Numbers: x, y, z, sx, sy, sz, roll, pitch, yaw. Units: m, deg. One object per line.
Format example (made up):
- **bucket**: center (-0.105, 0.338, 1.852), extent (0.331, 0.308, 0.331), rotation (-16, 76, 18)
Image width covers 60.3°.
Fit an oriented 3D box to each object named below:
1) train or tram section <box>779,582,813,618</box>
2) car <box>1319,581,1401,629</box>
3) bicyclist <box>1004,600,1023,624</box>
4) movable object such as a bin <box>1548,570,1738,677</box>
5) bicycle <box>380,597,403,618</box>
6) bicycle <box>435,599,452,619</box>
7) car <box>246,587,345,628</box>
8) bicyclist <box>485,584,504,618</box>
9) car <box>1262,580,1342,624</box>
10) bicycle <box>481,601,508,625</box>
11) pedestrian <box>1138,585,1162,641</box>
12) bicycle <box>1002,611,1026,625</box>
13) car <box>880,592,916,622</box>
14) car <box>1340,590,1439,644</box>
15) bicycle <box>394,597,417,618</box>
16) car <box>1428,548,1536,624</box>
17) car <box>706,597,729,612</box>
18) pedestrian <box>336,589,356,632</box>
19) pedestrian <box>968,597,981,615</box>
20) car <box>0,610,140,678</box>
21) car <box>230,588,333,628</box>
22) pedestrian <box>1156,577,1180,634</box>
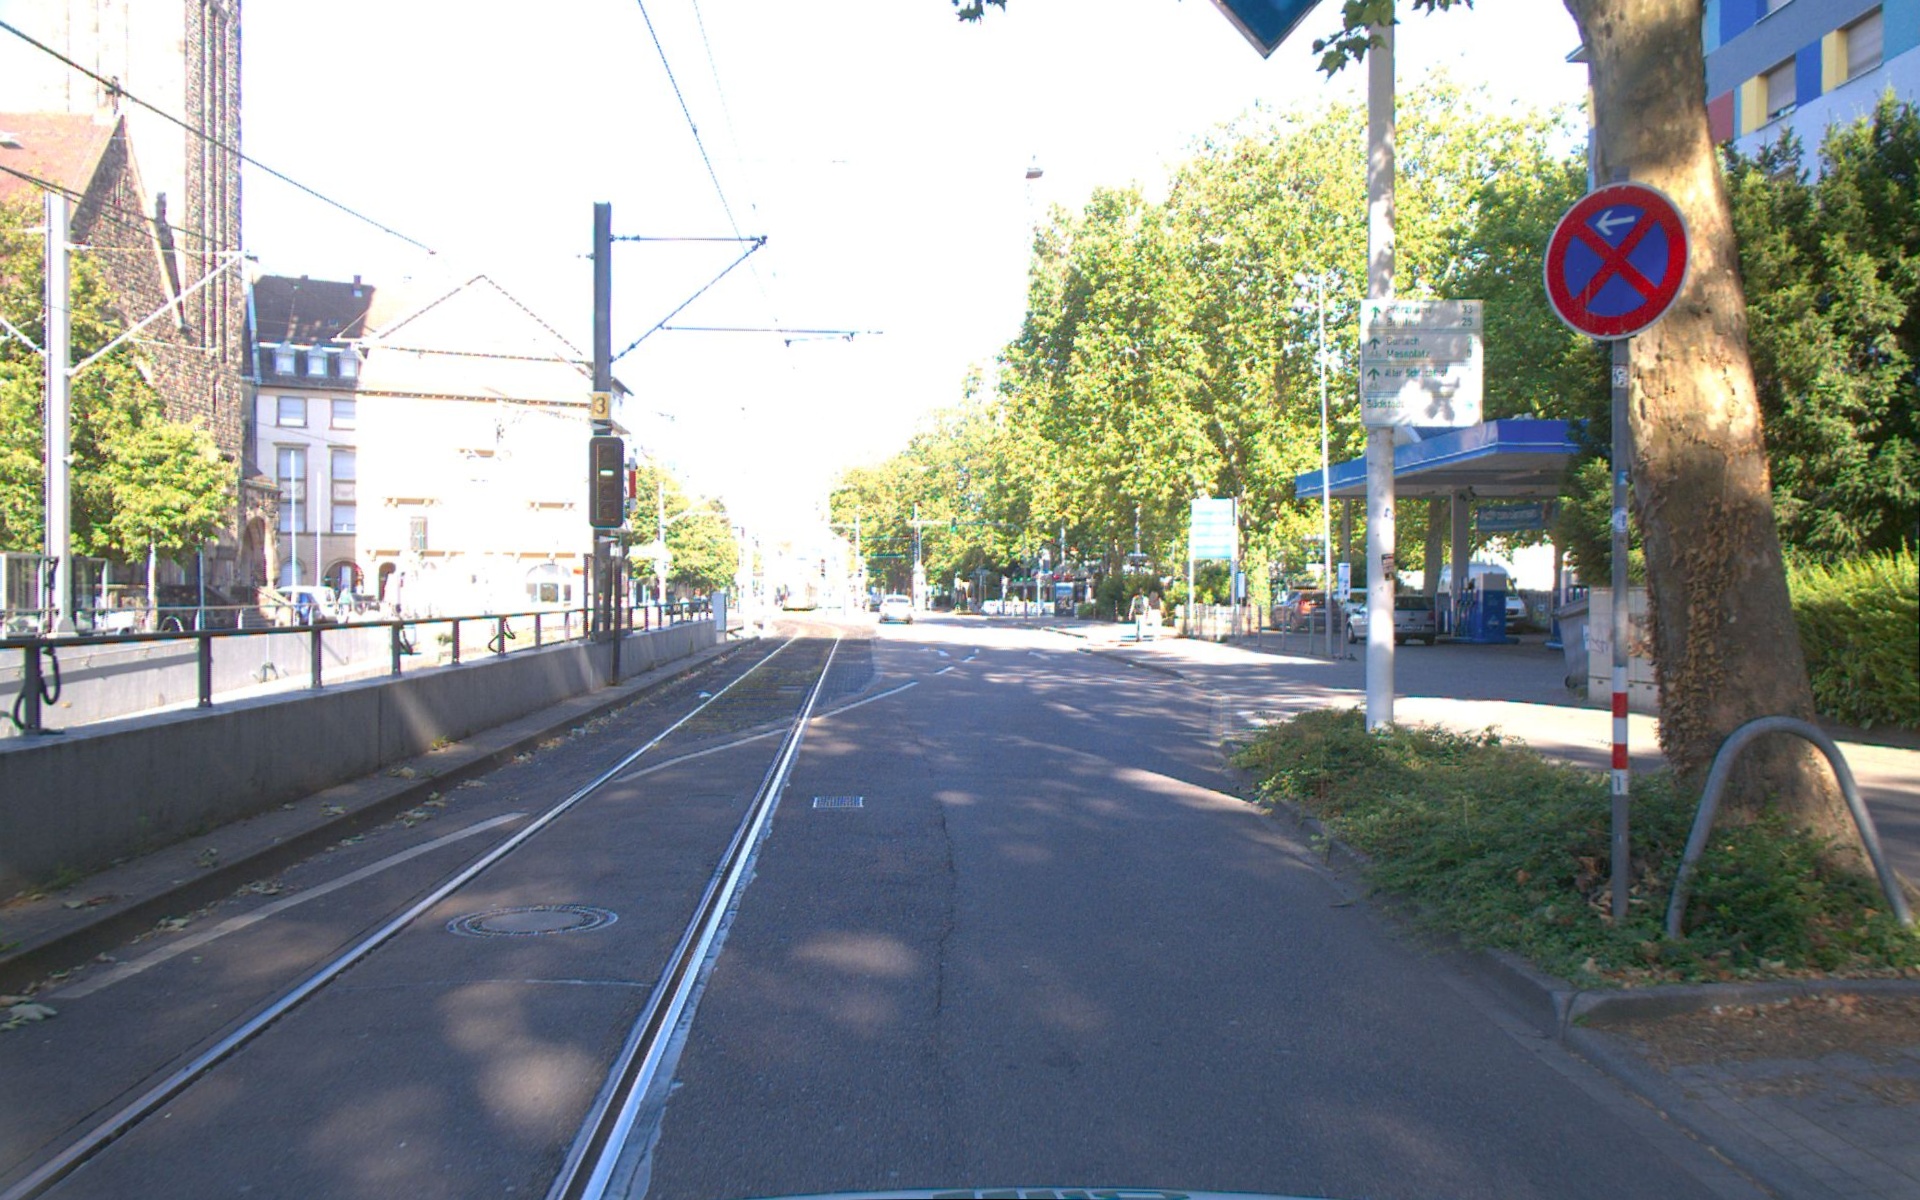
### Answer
- **train or tram section**: center (-16.826, -0.053, 170.035), extent (2.893, 3.469, 10.784), rotation (2, 0, -3)
- **car**: center (15.669, 0.170, 65.073), extent (1.823, 1.765, 4.796), rotation (-1, 1, -3)
- **bicyclist**: center (4.002, 0.922, 122.803), extent (1.178, 1.726, 0.901), rotation (2, 0, -13)
- **movable object such as a bin**: center (10.051, 0.324, 24.448), extent (1.997, 1.517, 1.743), rotation (0, 0, -8)
- **bicycle**: center (-38.237, 0.496, 111.322), extent (0.814, 1.305, 2.535), rotation (2, 0, -34)
- **bicycle**: center (-35.349, 0.593, 113.243), extent (0.807, 1.305, 2.557), rotation (2, 0, -12)
- **car**: center (-31.771, 0.353, 79.117), extent (3.906, 1.787, 1.894), rotation (2, 0, -1)
- **bicyclist**: center (-24.143, 0.046, 85.776), extent (0.618, 1.753, 0.916), rotation (-2, 0, 3)
- **car**: center (13.537, 0.059, 65.677), extent (1.782, 1.630, 4.657), rotation (-1, 1, -6)
- **bicycle**: center (-24.124, 0.682, 85.735), extent (0.618, 1.164, 2.280), rotation (-2, 0, 3)
- **pedestrian**: center (6.237, 0.423, 54.238), extent (0.590, 1.807, 0.879), rotation (-4, 0, 0)
- **bicycle**: center (3.988, 1.328, 122.767), extent (1.178, 0.951, 2.566), rotation (2, 0, -12)
- **car**: center (-3.270, 0.341, 86.617), extent (1.711, 1.487, 3.641), rotation (2, 0, -4)
- **car**: center (12.396, 0.465, 47.987), extent (1.536, 1.455, 4.095), rotation (-1, 0, -4)
- **bicycle**: center (-37.494, 0.521, 111.834), extent (0.814, 1.305, 2.535), rotation (2, 0, -34)
- **car**: center (20.835, -0.552, 66.333), extent (2.196, 2.882, 5.793), rotation (-1, 0, -3)
- **car**: center (-26.604, 0.481, 181.484), extent (1.954, 1.474, 4.837), rotation (-1, 0, -3)
- **pedestrian**: center (-28.046, 0.473, 75.576), extent (0.593, 1.920, 0.756), rotation (2, 0, -1)
- **pedestrian**: center (1.194, 0.489, 136.235), extent (0.647, 1.412, 0.831), rotation (2, 0, 28)
- **car**: center (-23.640, 1.118, 43.757), extent (1.681, 1.582, 4.508), rotation (2, 0, -2)
- **car**: center (-31.271, 0.359, 76.255), extent (3.906, 1.657, 1.894), rotation (2, 0, -1)
- **pedestrian**: center (6.830, 0.182, 54.236), extent (0.590, 1.807, 0.690), rotation (-4, 0, 0)
